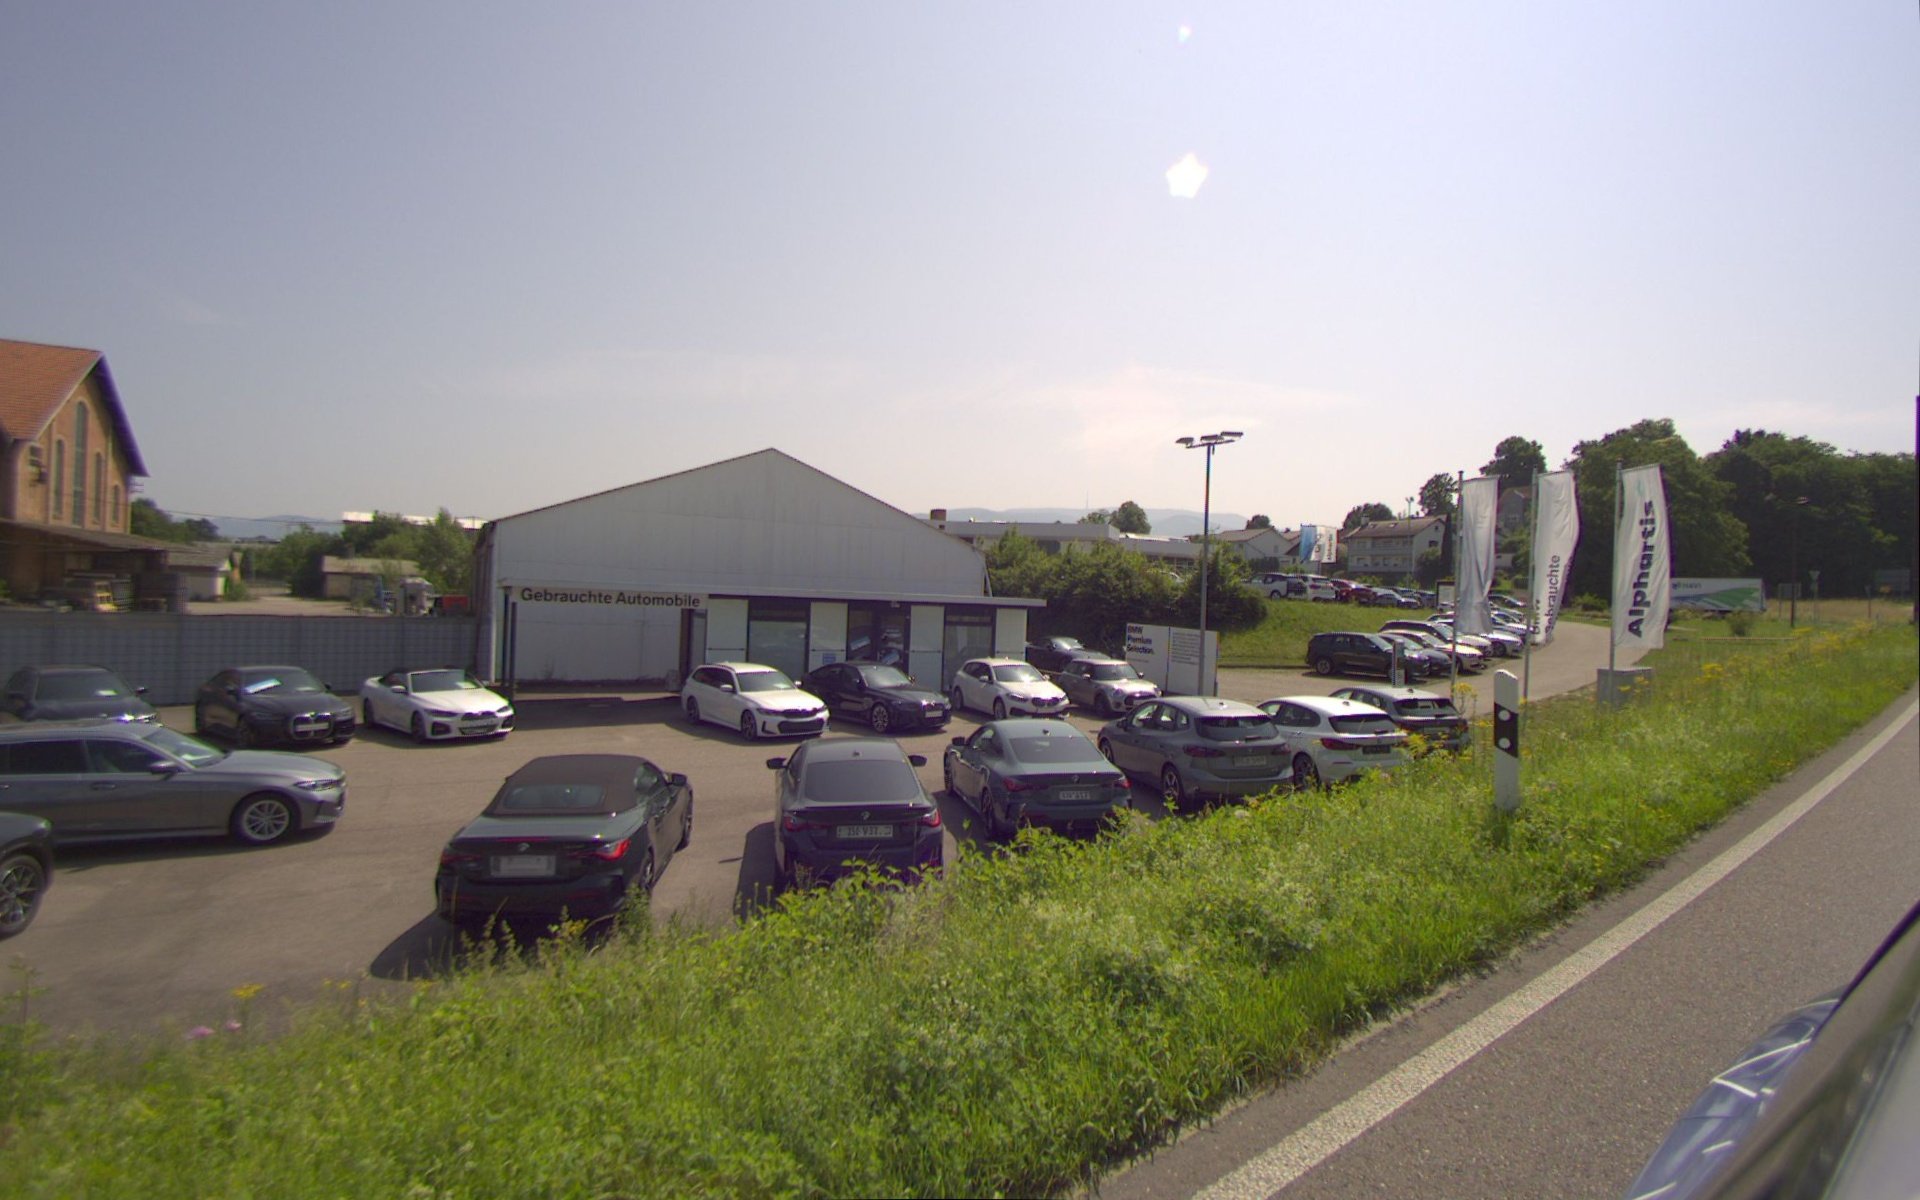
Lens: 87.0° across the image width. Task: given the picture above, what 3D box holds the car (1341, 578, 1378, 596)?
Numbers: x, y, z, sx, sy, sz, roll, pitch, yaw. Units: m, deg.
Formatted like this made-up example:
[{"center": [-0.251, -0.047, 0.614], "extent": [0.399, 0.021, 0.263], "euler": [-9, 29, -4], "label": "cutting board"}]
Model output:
[{"center": [36.893, -1.201, 93.542], "extent": [1.875, 1.531, 4.373], "euler": [2, 1, 3], "label": "car"}]

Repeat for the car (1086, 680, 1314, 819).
[{"center": [3.666, 2.254, 16.309], "extent": [1.817, 1.542, 4.180], "euler": [0, 0, -14], "label": "car"}]

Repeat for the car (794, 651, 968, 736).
[{"center": [-1.997, 2.171, 24.484], "extent": [1.899, 1.542, 4.432], "euler": [0, 1, -42], "label": "car"}]

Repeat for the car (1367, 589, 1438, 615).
[{"center": [31.960, 0.131, 73.216], "extent": [1.910, 1.518, 4.435], "euler": [0, 4, -29], "label": "car"}]

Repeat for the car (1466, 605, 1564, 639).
[{"center": [30.079, 1.151, 54.961], "extent": [4.532, 1.438, 1.767], "euler": [3, 5, 29], "label": "car"}]

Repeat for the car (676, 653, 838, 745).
[{"center": [-4.736, 2.145, 23.084], "extent": [1.896, 1.542, 4.438], "euler": [0, 1, -37], "label": "car"}]

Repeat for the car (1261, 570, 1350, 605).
[{"center": [18.689, -0.703, 54.884], "extent": [1.802, 1.769, 4.474], "euler": [1, 1, -29], "label": "car"}]

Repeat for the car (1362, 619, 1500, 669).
[{"center": [19.393, 1.756, 41.791], "extent": [4.766, 1.526, 1.970], "euler": [4, 5, 42], "label": "car"}]

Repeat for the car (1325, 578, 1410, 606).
[{"center": [24.331, -0.523, 60.543], "extent": [1.910, 1.518, 4.474], "euler": [2, 1, -29], "label": "car"}]

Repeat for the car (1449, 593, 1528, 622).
[{"center": [34.721, 0.472, 66.581], "extent": [4.535, 1.590, 1.752], "euler": [3, 2, 28], "label": "car"}]

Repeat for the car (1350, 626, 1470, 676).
[{"center": [17.760, 1.970, 40.014], "extent": [3.979, 1.570, 1.973], "euler": [2, 4, 38], "label": "car"}]

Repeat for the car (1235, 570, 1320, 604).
[{"center": [15.738, -0.662, 50.398], "extent": [1.732, 1.551, 3.893], "euler": [1, 1, -29], "label": "car"}]

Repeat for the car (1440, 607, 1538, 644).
[{"center": [26.912, 1.265, 51.530], "extent": [4.233, 1.500, 1.901], "euler": [4, 5, 34], "label": "car"}]

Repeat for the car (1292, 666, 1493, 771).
[{"center": [8.377, 2.228, 20.044], "extent": [1.655, 1.542, 4.179], "euler": [0, 0, -9], "label": "car"}]

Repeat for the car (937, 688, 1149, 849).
[{"center": [1.007, 2.258, 14.607], "extent": [1.817, 1.542, 4.180], "euler": [0, 0, -14], "label": "car"}]

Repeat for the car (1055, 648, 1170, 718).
[{"center": [4.093, 2.207, 27.759], "extent": [1.714, 1.542, 3.811], "euler": [0, 0, -15], "label": "car"}]

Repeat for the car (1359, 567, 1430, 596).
[{"center": [29.156, -1.255, 68.006], "extent": [1.910, 1.771, 4.015], "euler": [2, 2, -29], "label": "car"}]

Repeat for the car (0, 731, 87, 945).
[{"center": [-9.031, 2.125, 7.378], "extent": [1.818, 1.722, 4.651], "euler": [2, 0, -9], "label": "car"}]

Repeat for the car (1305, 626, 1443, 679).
[{"center": [15.664, 1.916, 38.359], "extent": [4.471, 1.660, 2.119], "euler": [1, 2, 38], "label": "car"}]

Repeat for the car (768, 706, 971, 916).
[{"center": [-1.265, 2.287, 12.098], "extent": [1.817, 1.542, 4.180], "euler": [0, 0, -14], "label": "car"}]

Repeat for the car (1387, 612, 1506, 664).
[{"center": [20.977, 1.585, 43.743], "extent": [4.247, 1.769, 1.970], "euler": [4, 5, 42], "label": "car"}]

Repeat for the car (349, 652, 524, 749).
[{"center": [-11.424, 2.075, 21.926], "extent": [4.601, 1.542, 1.903], "euler": [1, 1, 42], "label": "car"}]

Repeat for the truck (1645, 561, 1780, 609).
[{"center": [63.448, -1.213, 85.516], "extent": [8.983, 3.877, 2.858], "euler": [0, 0, 41], "label": "truck"}]

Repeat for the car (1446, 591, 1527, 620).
[{"center": [35.818, 0.343, 68.952], "extent": [4.612, 1.589, 1.755], "euler": [5, 2, 22], "label": "car"}]

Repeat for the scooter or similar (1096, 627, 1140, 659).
[{"center": [7.030, 1.909, 45.096], "extent": [0.612, 1.330, 1.976], "euler": [0, 0, -43], "label": "scooter or similar"}]

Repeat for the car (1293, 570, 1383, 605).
[{"center": [20.858, -0.712, 56.083], "extent": [1.910, 1.769, 4.474], "euler": [1, 1, -29], "label": "car"}]

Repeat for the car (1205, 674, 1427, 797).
[{"center": [6.110, 2.268, 17.944], "extent": [1.715, 1.542, 4.180], "euler": [0, 0, -14], "label": "car"}]

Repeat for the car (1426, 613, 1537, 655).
[{"center": [24.227, 1.523, 47.067], "extent": [4.407, 1.482, 1.900], "euler": [4, 5, 34], "label": "car"}]

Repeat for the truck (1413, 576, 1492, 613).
[{"center": [38.402, -0.490, 79.090], "extent": [1.909, 2.698, 5.639], "euler": [2, 1, -23], "label": "truck"}]

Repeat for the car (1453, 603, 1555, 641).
[{"center": [28.565, 1.118, 53.231], "extent": [4.542, 1.584, 1.901], "euler": [4, 5, 34], "label": "car"}]

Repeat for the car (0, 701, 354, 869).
[{"center": [-10.148, 2.205, 12.556], "extent": [4.441, 1.476, 2.145], "euler": [0, 0, -29], "label": "car"}]

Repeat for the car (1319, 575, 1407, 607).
[{"center": [22.972, -0.547, 57.855], "extent": [1.910, 1.655, 4.474], "euler": [1, 1, -29], "label": "car"}]

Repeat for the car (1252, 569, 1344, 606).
[{"center": [17.419, -0.678, 52.344], "extent": [1.802, 1.769, 4.474], "euler": [1, 1, -29], "label": "car"}]

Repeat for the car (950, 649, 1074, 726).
[{"center": [1.259, 2.195, 26.283], "extent": [1.715, 1.542, 3.979], "euler": [0, 1, -22], "label": "car"}]

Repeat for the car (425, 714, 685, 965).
[{"center": [-4.109, 2.309, 11.056], "extent": [1.818, 1.542, 4.652], "euler": [0, 0, -11], "label": "car"}]

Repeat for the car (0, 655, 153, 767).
[{"center": [-16.710, 1.964, 19.026], "extent": [4.311, 1.542, 1.770], "euler": [1, 1, 42], "label": "car"}]

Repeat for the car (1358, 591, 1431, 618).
[{"center": [27.742, 0.252, 64.718], "extent": [1.909, 1.545, 4.017], "euler": [2, 1, -23], "label": "car"}]

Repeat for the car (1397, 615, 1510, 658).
[{"center": [22.268, 1.599, 45.770], "extent": [4.247, 1.483, 1.846], "euler": [4, 5, 42], "label": "car"}]

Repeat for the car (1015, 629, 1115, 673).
[{"center": [3.834, 1.865, 37.621], "extent": [1.685, 1.393, 3.955], "euler": [0, 0, -30], "label": "car"}]

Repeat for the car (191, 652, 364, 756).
[{"center": [-13.947, 1.998, 20.569], "extent": [4.601, 1.542, 1.903], "euler": [1, 1, 42], "label": "car"}]
